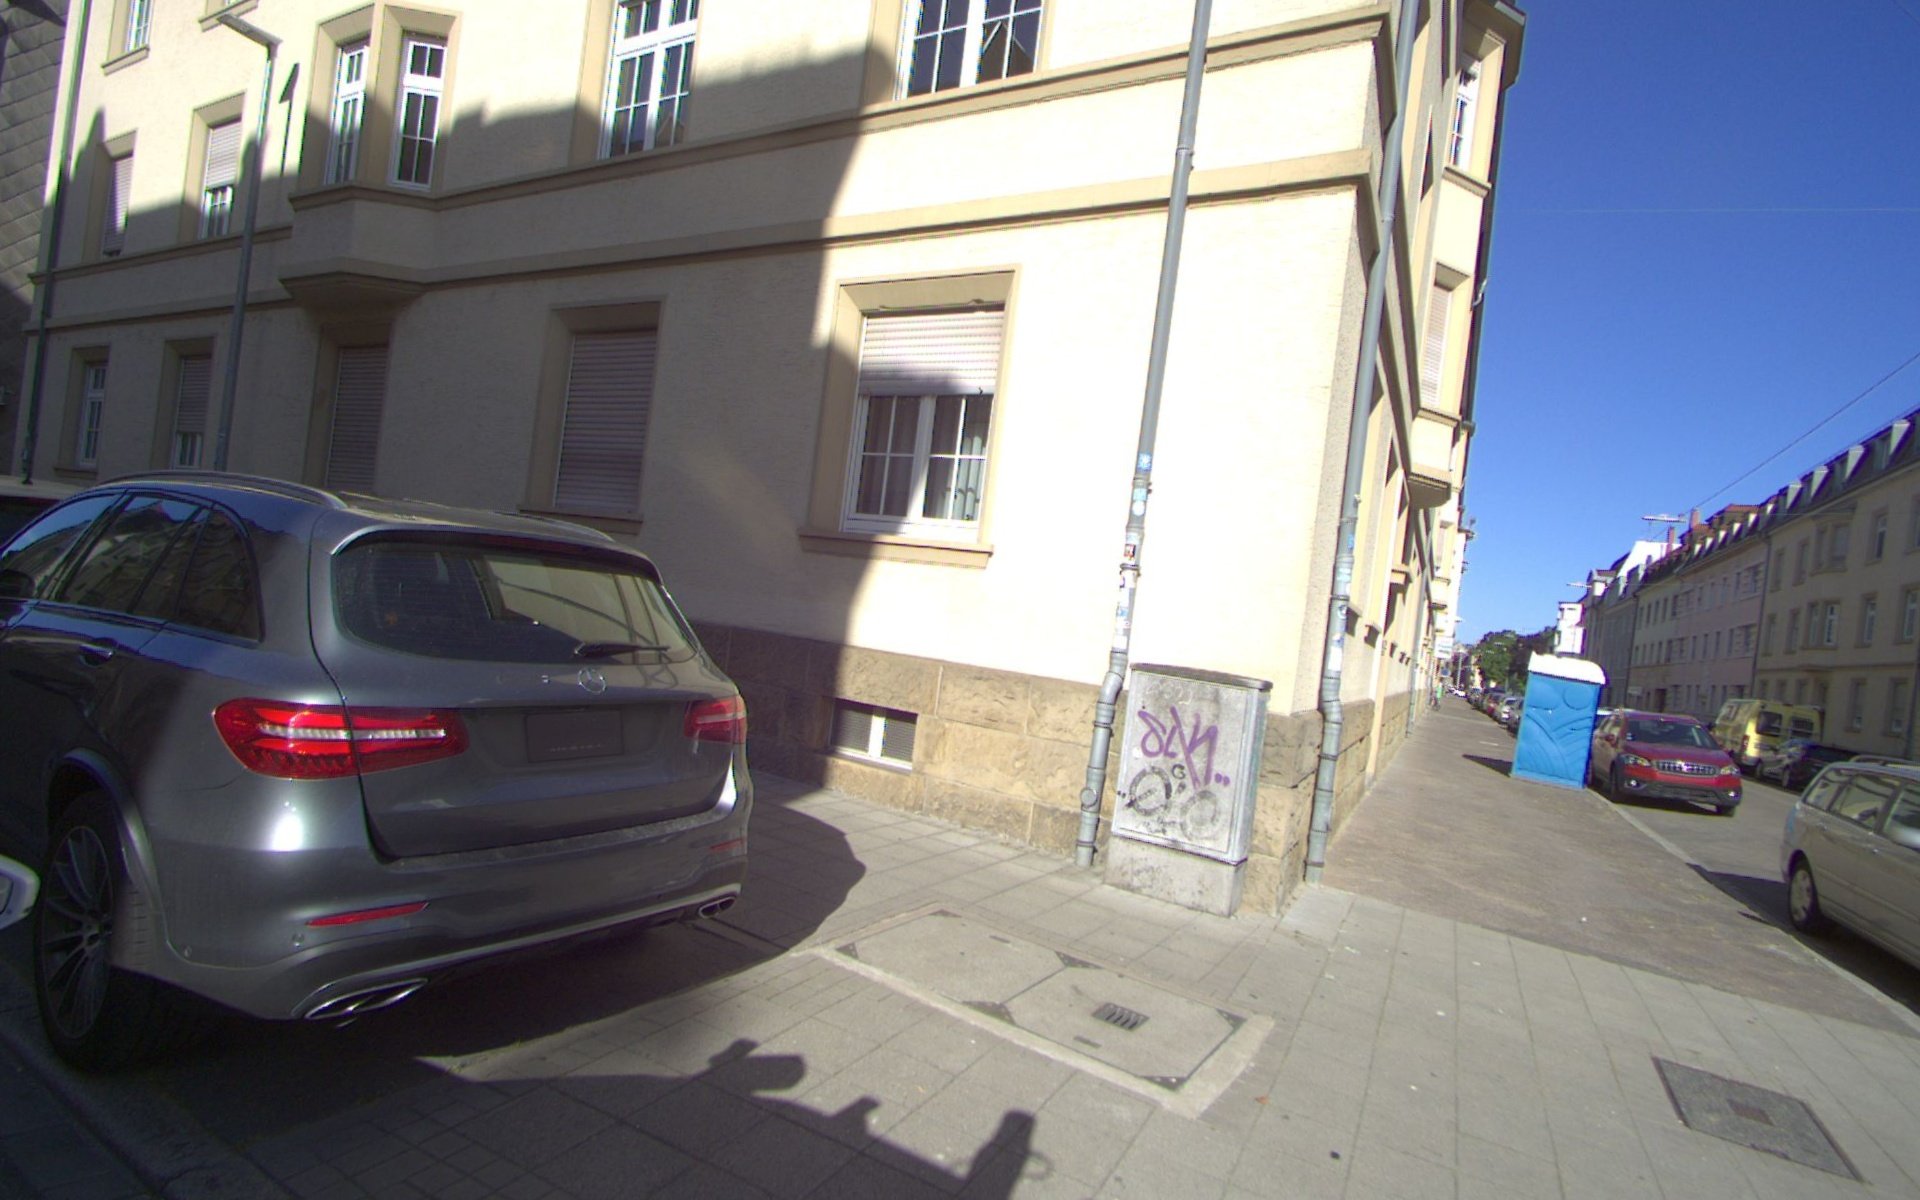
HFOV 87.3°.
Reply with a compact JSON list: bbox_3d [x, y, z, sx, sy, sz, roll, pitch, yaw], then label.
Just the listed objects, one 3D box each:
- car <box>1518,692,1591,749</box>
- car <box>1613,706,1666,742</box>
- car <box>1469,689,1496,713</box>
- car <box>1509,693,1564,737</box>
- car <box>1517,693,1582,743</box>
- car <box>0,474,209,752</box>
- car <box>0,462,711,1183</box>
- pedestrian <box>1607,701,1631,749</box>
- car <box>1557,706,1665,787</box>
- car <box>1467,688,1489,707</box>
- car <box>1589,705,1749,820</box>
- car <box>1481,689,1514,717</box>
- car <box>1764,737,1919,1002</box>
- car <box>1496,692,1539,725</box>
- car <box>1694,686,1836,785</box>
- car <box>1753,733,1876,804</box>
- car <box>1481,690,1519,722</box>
[{"bbox_3d":[19.760,3.950,33.571,1.719,1.590,3.724,4,-2,27],"label":"car"},{"bbox_3d":[35.422,6.434,52.548,1.719,1.590,3.724,4,-2,27],"label":"car"},{"bbox_3d":[40.860,7.878,78.741,1.719,1.590,3.724,4,-2,27],"label":"car"},{"bbox_3d":[24.367,4.834,42.634,1.719,1.590,3.724,4,-2,27],"label":"car"},{"bbox_3d":[21.973,4.353,37.602,1.719,1.590,3.724,4,-2,27],"label":"car"},{"bbox_3d":[-6.911,-0.113,6.794,3.851,1.565,1.681,7,1,34],"label":"car"},{"bbox_3d":[-3.340,0.396,4.339,4.363,1.684,1.788,7,-1,34],"label":"car"},{"bbox_3d":[29.815,5.650,45.530,0.627,2.038,0.594,8,0,29],"label":"pedestrian"},{"bbox_3d":[15.897,3.515,24.745,1.719,1.590,3.724,4,-2,27],"label":"car"},{"bbox_3d":[49.582,9.289,96.327,1.719,1.590,3.724,4,-2,27],"label":"car"},{"bbox_3d":[12.649,2.825,18.183,1.719,1.590,3.724,4,-2,27],"label":"car"},{"bbox_3d":[35.351,6.769,66.262,1.719,1.590,3.724,4,-2,27],"label":"car"},{"bbox_3d":[7.129,1.896,6.686,1.663,1.489,4.176,7,-1,25],"label":"car"},{"bbox_3d":[28.861,5.592,52.145,1.719,1.451,3.507,4,-2,27],"label":"car"},{"bbox_3d":[26.841,4.429,33.832,2.077,2.673,6.035,9,-1,26],"label":"car"},{"bbox_3d":[23.980,4.683,28.375,1.549,1.444,3.691,9,-1,26],"label":"car"},{"bbox_3d":[31.180,6.093,58.143,1.719,1.590,3.724,4,-2,27],"label":"car"}]
